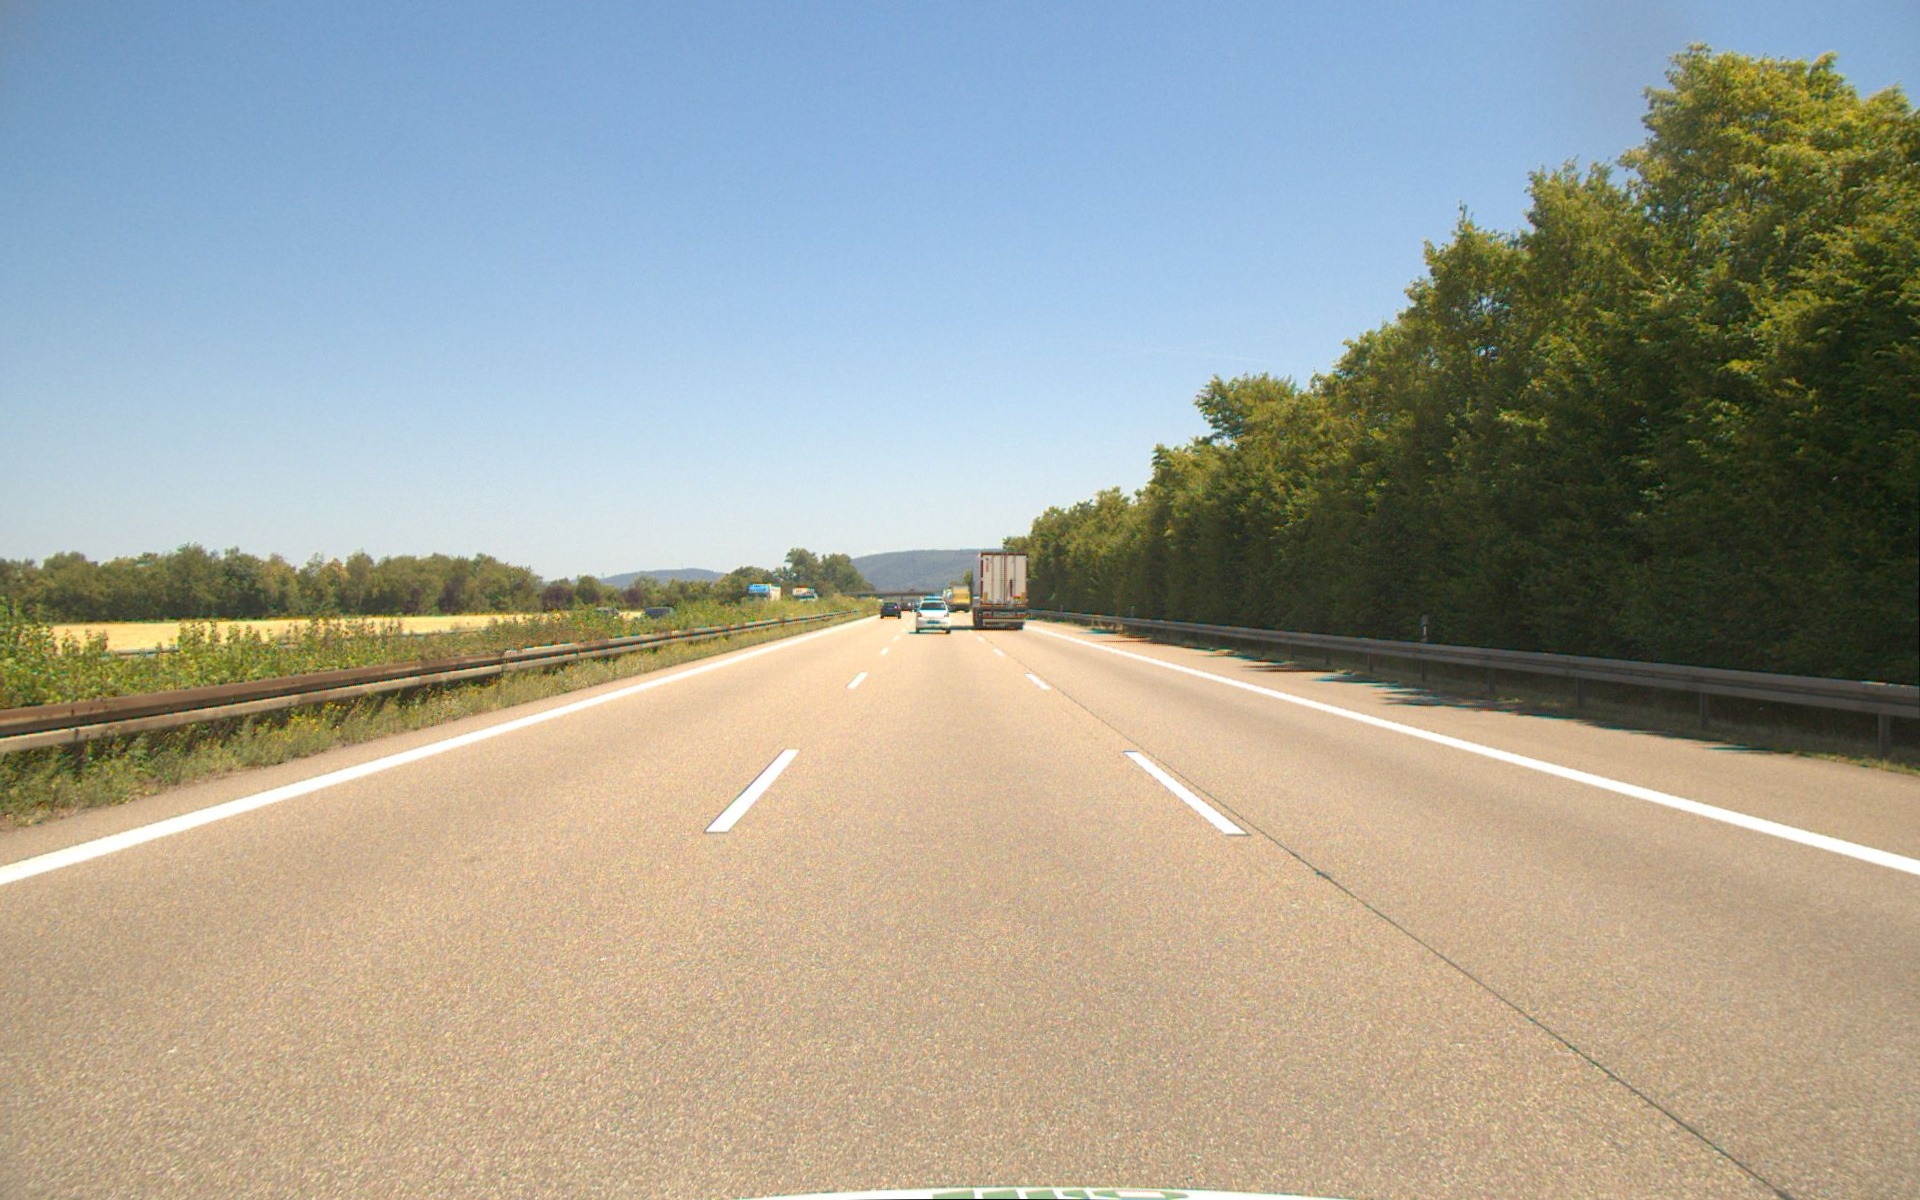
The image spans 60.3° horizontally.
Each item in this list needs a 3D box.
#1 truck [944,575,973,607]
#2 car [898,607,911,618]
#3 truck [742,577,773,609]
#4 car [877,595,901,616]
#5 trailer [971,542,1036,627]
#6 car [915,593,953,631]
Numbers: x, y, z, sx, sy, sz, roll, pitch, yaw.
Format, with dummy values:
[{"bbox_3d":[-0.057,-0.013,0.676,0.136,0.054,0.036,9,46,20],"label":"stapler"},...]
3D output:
[{"bbox_3d":[-0.287,-1.256,241.611,3.793,4.421,13.856,1,0,-1],"label":"truck"},{"bbox_3d":[-7.957,1.773,237.155,1.759,1.578,3.999,0,0,-1],"label":"car"},{"bbox_3d":[-23.861,-0.833,195.261,3.047,3.763,5.197,1,0,-1],"label":"truck"},{"bbox_3d":[-6.094,0.458,142.043,1.953,1.742,3.998,1,0,-2],"label":"car"},{"bbox_3d":[2.317,-0.830,93.870,3.152,4.421,13.627,1,0,0],"label":"trailer"},{"bbox_3d":[-1.266,0.539,78.216,1.697,1.713,3.998,-1,0,-2],"label":"car"}]
